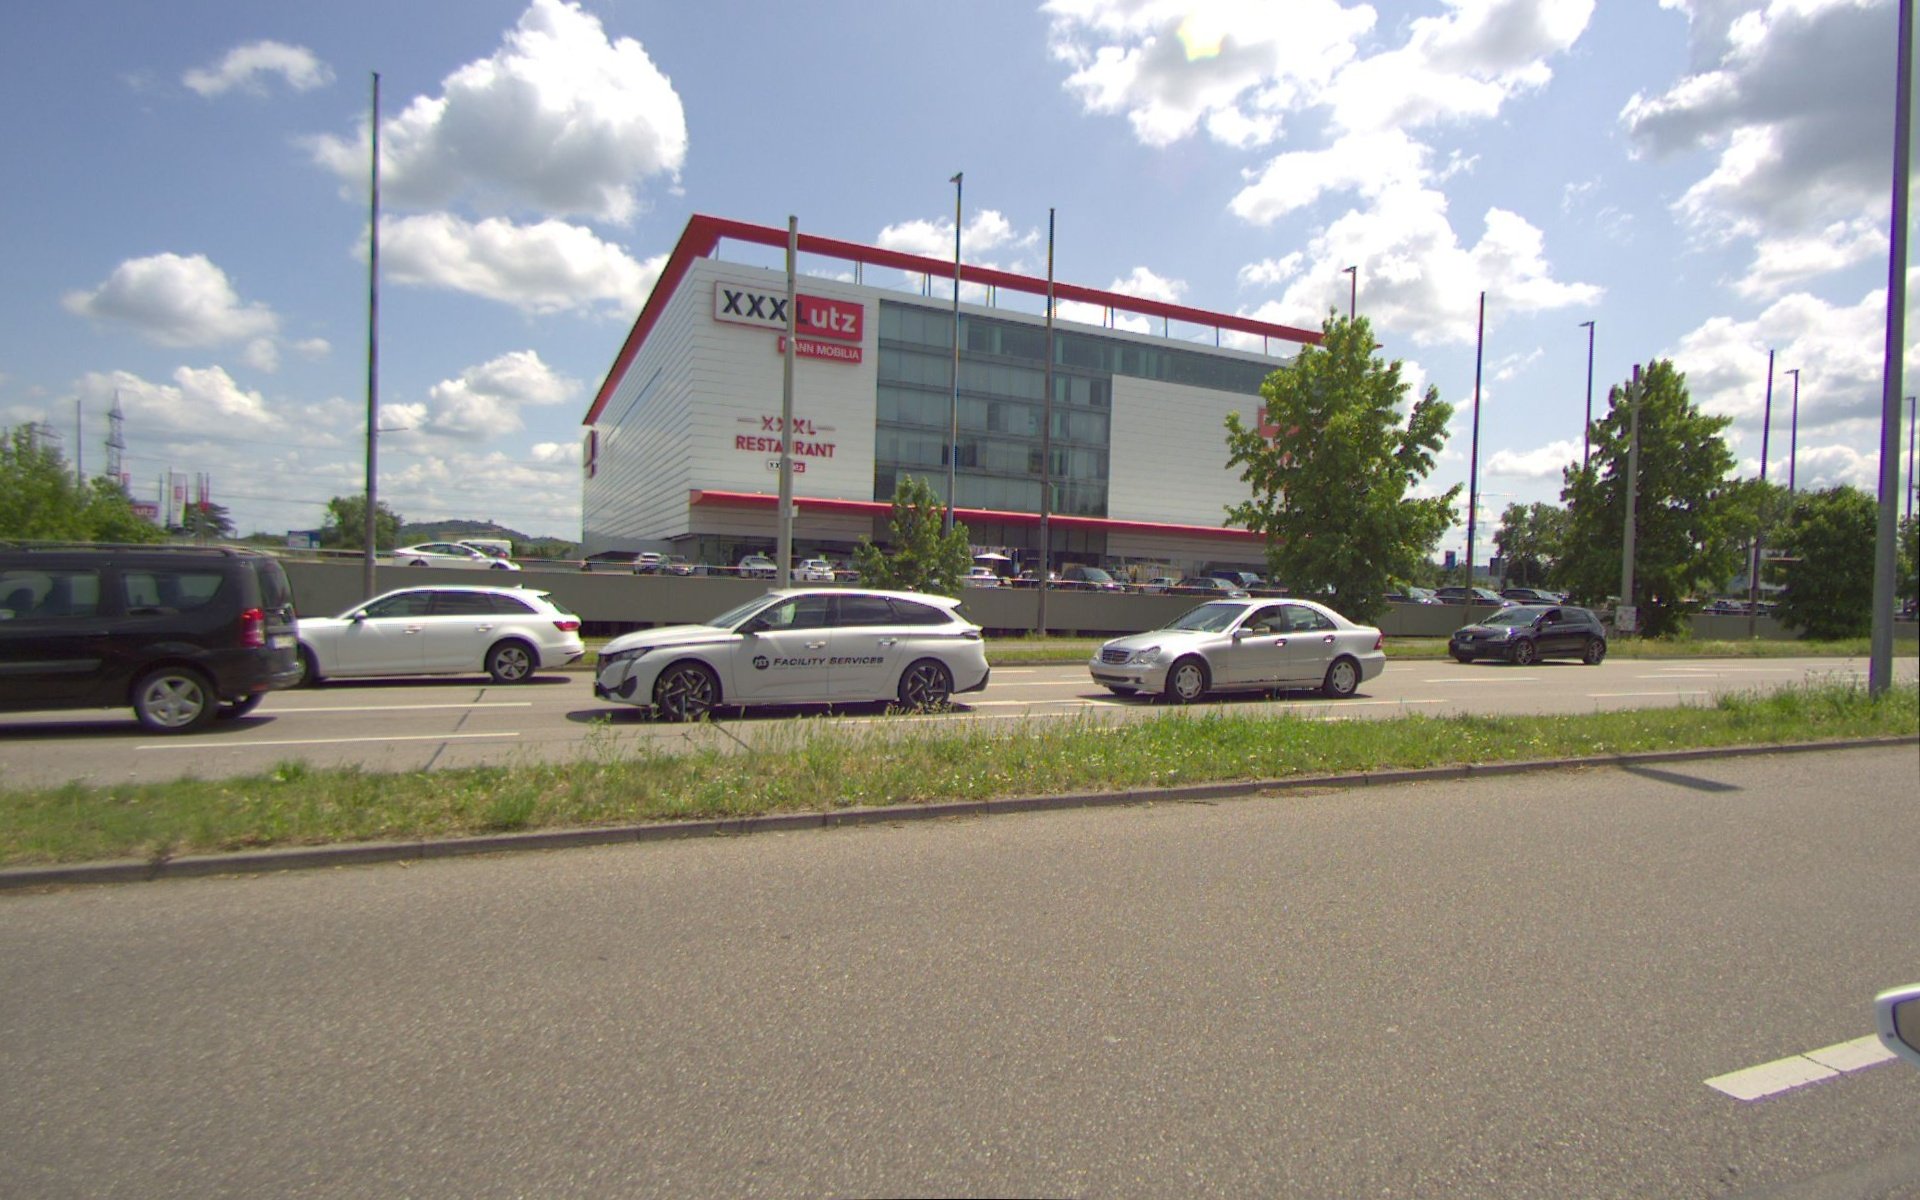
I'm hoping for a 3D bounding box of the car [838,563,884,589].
[{"bbox_3d":[-5.941,-1.410,59.986,1.828,1.489,3.815,0,1,-20],"label":"car"}]

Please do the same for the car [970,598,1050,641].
[{"bbox_3d":[2.002,0.768,41.577,1.823,1.617,3.978,0,1,-22],"label":"car"}]

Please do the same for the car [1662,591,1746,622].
[{"bbox_3d":[52.919,0.439,71.544,1.973,2.016,4.334,1,2,-26],"label":"car"}]

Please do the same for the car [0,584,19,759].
[{"bbox_3d":[-8.681,0.531,5.867,4.246,1.268,1.787,0,1,-24],"label":"car"}]

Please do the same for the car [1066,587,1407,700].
[{"bbox_3d":[3.980,0.537,14.436,4.606,1.437,1.788,0,1,-22],"label":"car"}]

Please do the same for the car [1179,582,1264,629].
[{"bbox_3d":[13.676,0.253,52.730,1.973,2.360,4.334,1,1,-26],"label":"car"}]

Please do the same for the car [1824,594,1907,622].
[{"bbox_3d":[72.981,0.601,81.025,1.973,2.016,4.566,1,2,-26],"label":"car"}]

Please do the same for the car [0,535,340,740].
[{"bbox_3d":[-8.349,0.307,9.325,4.167,1.724,1.787,0,1,-24],"label":"car"}]

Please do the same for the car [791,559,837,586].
[{"bbox_3d":[-8.606,-1.576,59.107,1.829,1.489,3.812,0,1,-22],"label":"car"}]

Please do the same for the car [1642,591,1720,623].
[{"bbox_3d":[50.689,0.452,70.674,1.818,2.016,4.057,1,2,-26],"label":"car"}]

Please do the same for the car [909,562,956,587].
[{"bbox_3d":[-1.729,-1.540,62.166,1.657,1.489,3.812,0,1,-23],"label":"car"}]

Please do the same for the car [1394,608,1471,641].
[{"bbox_3d":[31.582,1.587,67.256,1.973,2.016,4.334,1,1,-26],"label":"car"}]

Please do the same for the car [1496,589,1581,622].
[{"bbox_3d":[37.015,0.328,64.406,1.973,2.016,4.334,1,1,-26],"label":"car"}]

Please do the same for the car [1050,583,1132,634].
[{"bbox_3d":[6.393,0.380,49.478,1.973,2.360,4.334,1,1,-26],"label":"car"}]

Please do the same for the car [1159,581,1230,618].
[{"bbox_3d":[13.623,-0.054,58.527,1.973,2.041,3.974,0,1,-25],"label":"car"}]

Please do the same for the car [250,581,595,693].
[{"bbox_3d":[-7.737,0.475,14.914,4.295,1.492,1.616,0,1,-23],"label":"car"}]

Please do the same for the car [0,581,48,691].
[{"bbox_3d":[-14.508,0.460,12.377,4.516,1.410,1.616,0,1,-22],"label":"car"}]

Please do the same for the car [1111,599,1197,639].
[{"bbox_3d":[8.383,0.804,43.776,1.823,1.617,3.978,0,1,-22],"label":"car"}]

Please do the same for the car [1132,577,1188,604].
[{"bbox_3d":[15.230,-0.731,76.780,1.973,2.016,4.334,0,1,-26],"label":"car"}]

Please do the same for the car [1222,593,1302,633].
[{"bbox_3d":[16.043,0.673,53.534,1.973,2.041,3.974,0,1,-25],"label":"car"}]

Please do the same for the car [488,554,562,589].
[{"bbox_3d":[-24.247,-1.545,56.044,3.780,1.857,1.845,0,1,-25],"label":"car"}]

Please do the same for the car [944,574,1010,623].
[{"bbox_3d":[0.805,-0.090,51.374,1.970,2.360,4.343,1,1,-20],"label":"car"}]

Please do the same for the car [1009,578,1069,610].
[{"bbox_3d":[5.045,-0.419,65.061,1.973,2.016,4.334,1,1,-26],"label":"car"}]

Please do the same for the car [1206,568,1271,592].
[{"bbox_3d":[22.068,-1.552,79.729,2.170,1.802,5.099,0,1,-26],"label":"car"}]

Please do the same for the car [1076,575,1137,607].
[{"bbox_3d":[9.753,-0.608,67.091,1.973,2.016,4.334,1,1,-26],"label":"car"}]

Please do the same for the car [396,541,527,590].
[{"bbox_3d":[-19.946,-1.346,40.344,4.612,1.857,1.843,0,1,-26],"label":"car"}]

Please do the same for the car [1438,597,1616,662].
[{"bbox_3d":[13.808,0.682,24.468,4.056,1.489,1.616,0,1,-22],"label":"car"}]

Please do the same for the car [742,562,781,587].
[{"bbox_3d":[-12.342,-1.547,62.242,1.827,1.489,3.816,0,1,-19],"label":"car"}]

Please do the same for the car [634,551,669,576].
[{"bbox_3d":[-21.383,-2.515,69.637,1.831,1.565,3.809,0,1,-25],"label":"car"}]

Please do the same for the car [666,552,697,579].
[{"bbox_3d":[-16.691,-2.027,60.149,1.566,1.489,3.816,0,1,-19],"label":"car"}]

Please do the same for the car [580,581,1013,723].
[{"bbox_3d":[-1.897,0.521,11.866,4.777,1.420,1.787,0,0,-24],"label":"car"}]

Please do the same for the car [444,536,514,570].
[{"bbox_3d":[-29.067,-2.809,60.742,3.783,1.857,1.843,0,1,-27],"label":"car"}]
